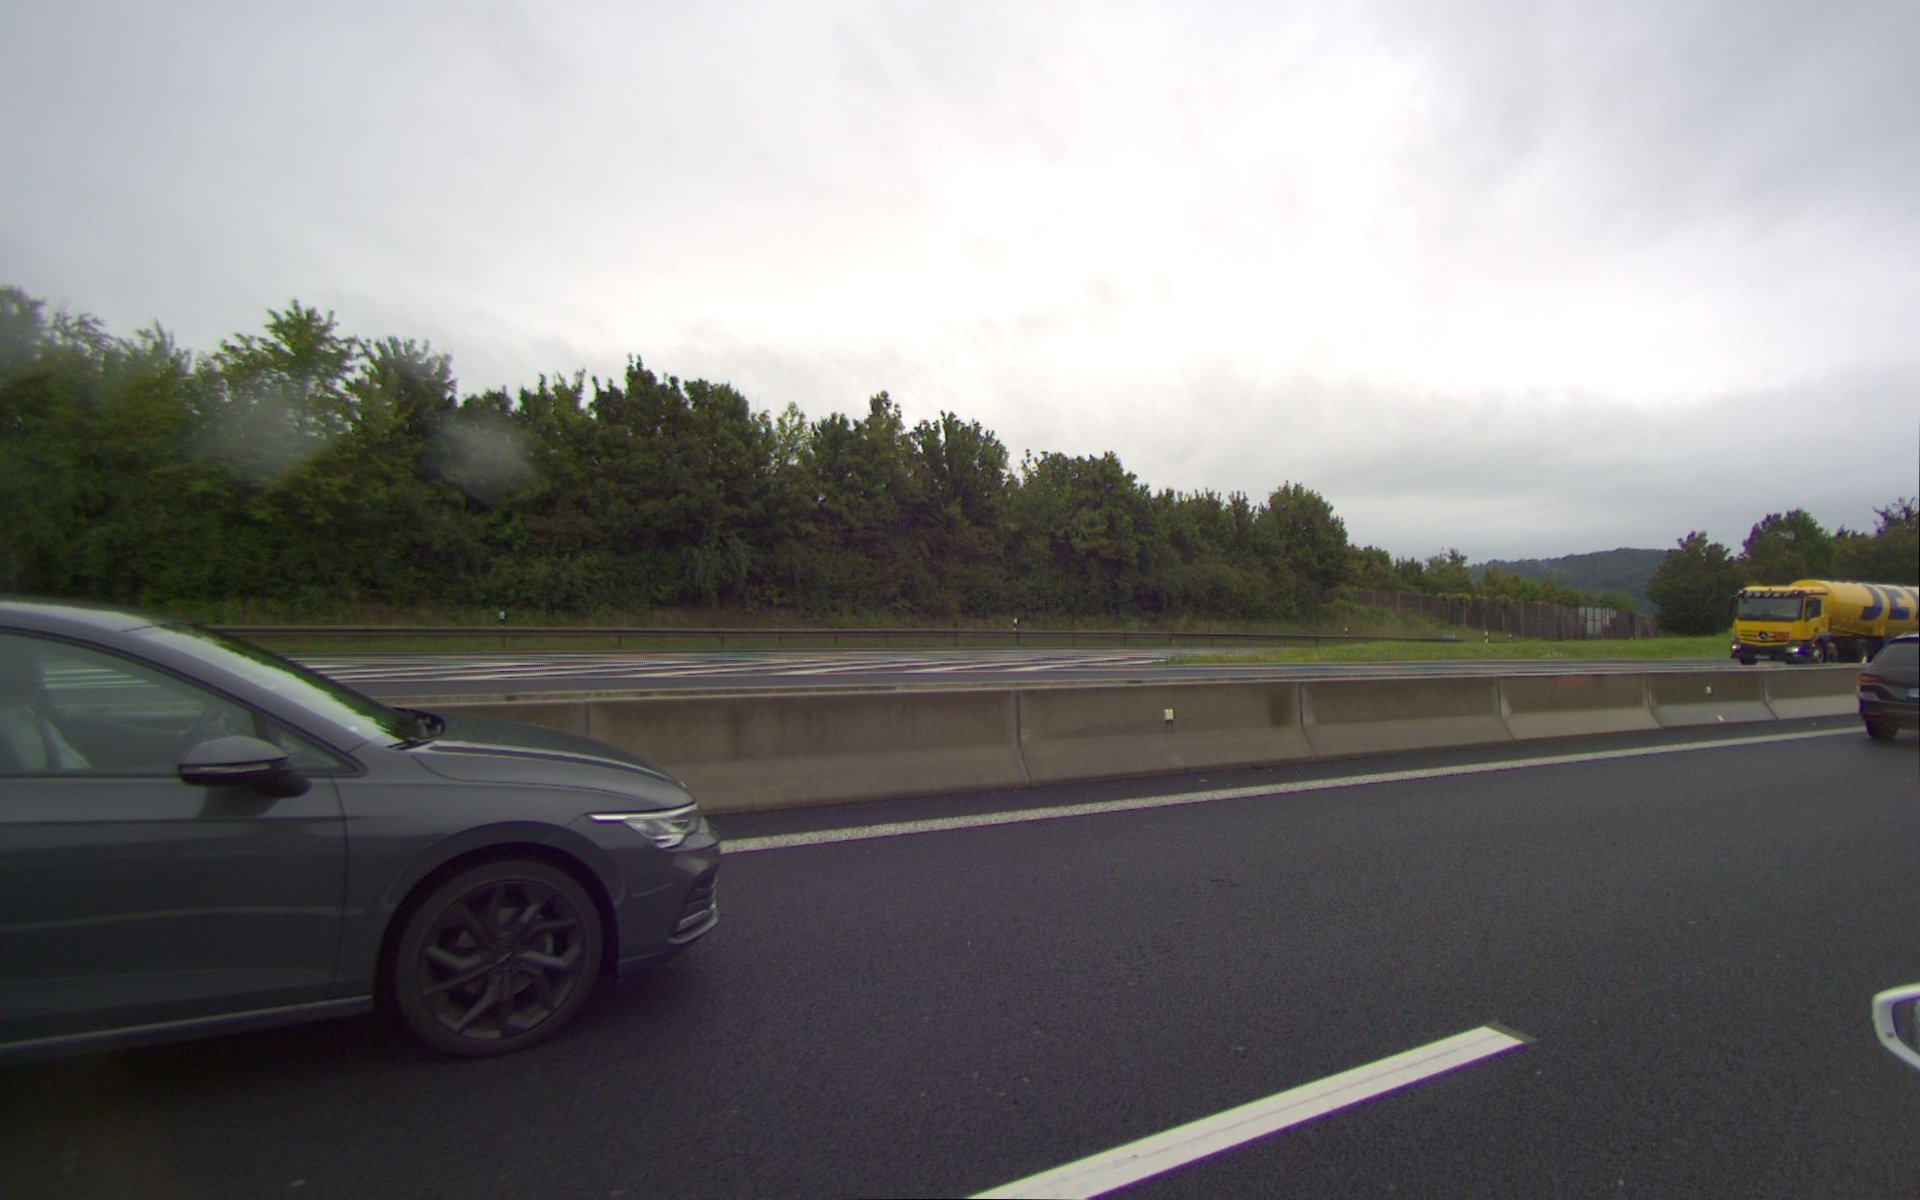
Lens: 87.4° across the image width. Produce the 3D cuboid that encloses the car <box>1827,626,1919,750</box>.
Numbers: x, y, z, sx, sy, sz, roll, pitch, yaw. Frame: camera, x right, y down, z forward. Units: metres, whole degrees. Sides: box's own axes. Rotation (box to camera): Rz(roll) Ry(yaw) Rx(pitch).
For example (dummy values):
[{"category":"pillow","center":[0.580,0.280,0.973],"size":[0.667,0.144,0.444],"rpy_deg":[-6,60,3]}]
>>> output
[{"category":"car","center":[13.873,1.146,13.524],"size":[4.795,1.517,1.891],"rpy_deg":[2,-1,-30]}]

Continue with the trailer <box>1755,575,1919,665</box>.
[{"category":"trailer","center":[37.725,0.887,42.016],"size":[11.305,3.443,2.750],"rpy_deg":[2,0,-29]}]

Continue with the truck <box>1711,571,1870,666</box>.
[{"category":"truck","center":[32.276,0.730,39.039],"size":[5.773,3.443,2.750],"rpy_deg":[2,0,-28]}]

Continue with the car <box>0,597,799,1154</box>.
[{"category":"car","center":[-2.953,0.707,3.365],"size":[4.406,1.424,1.892],"rpy_deg":[1,-1,-30]}]
